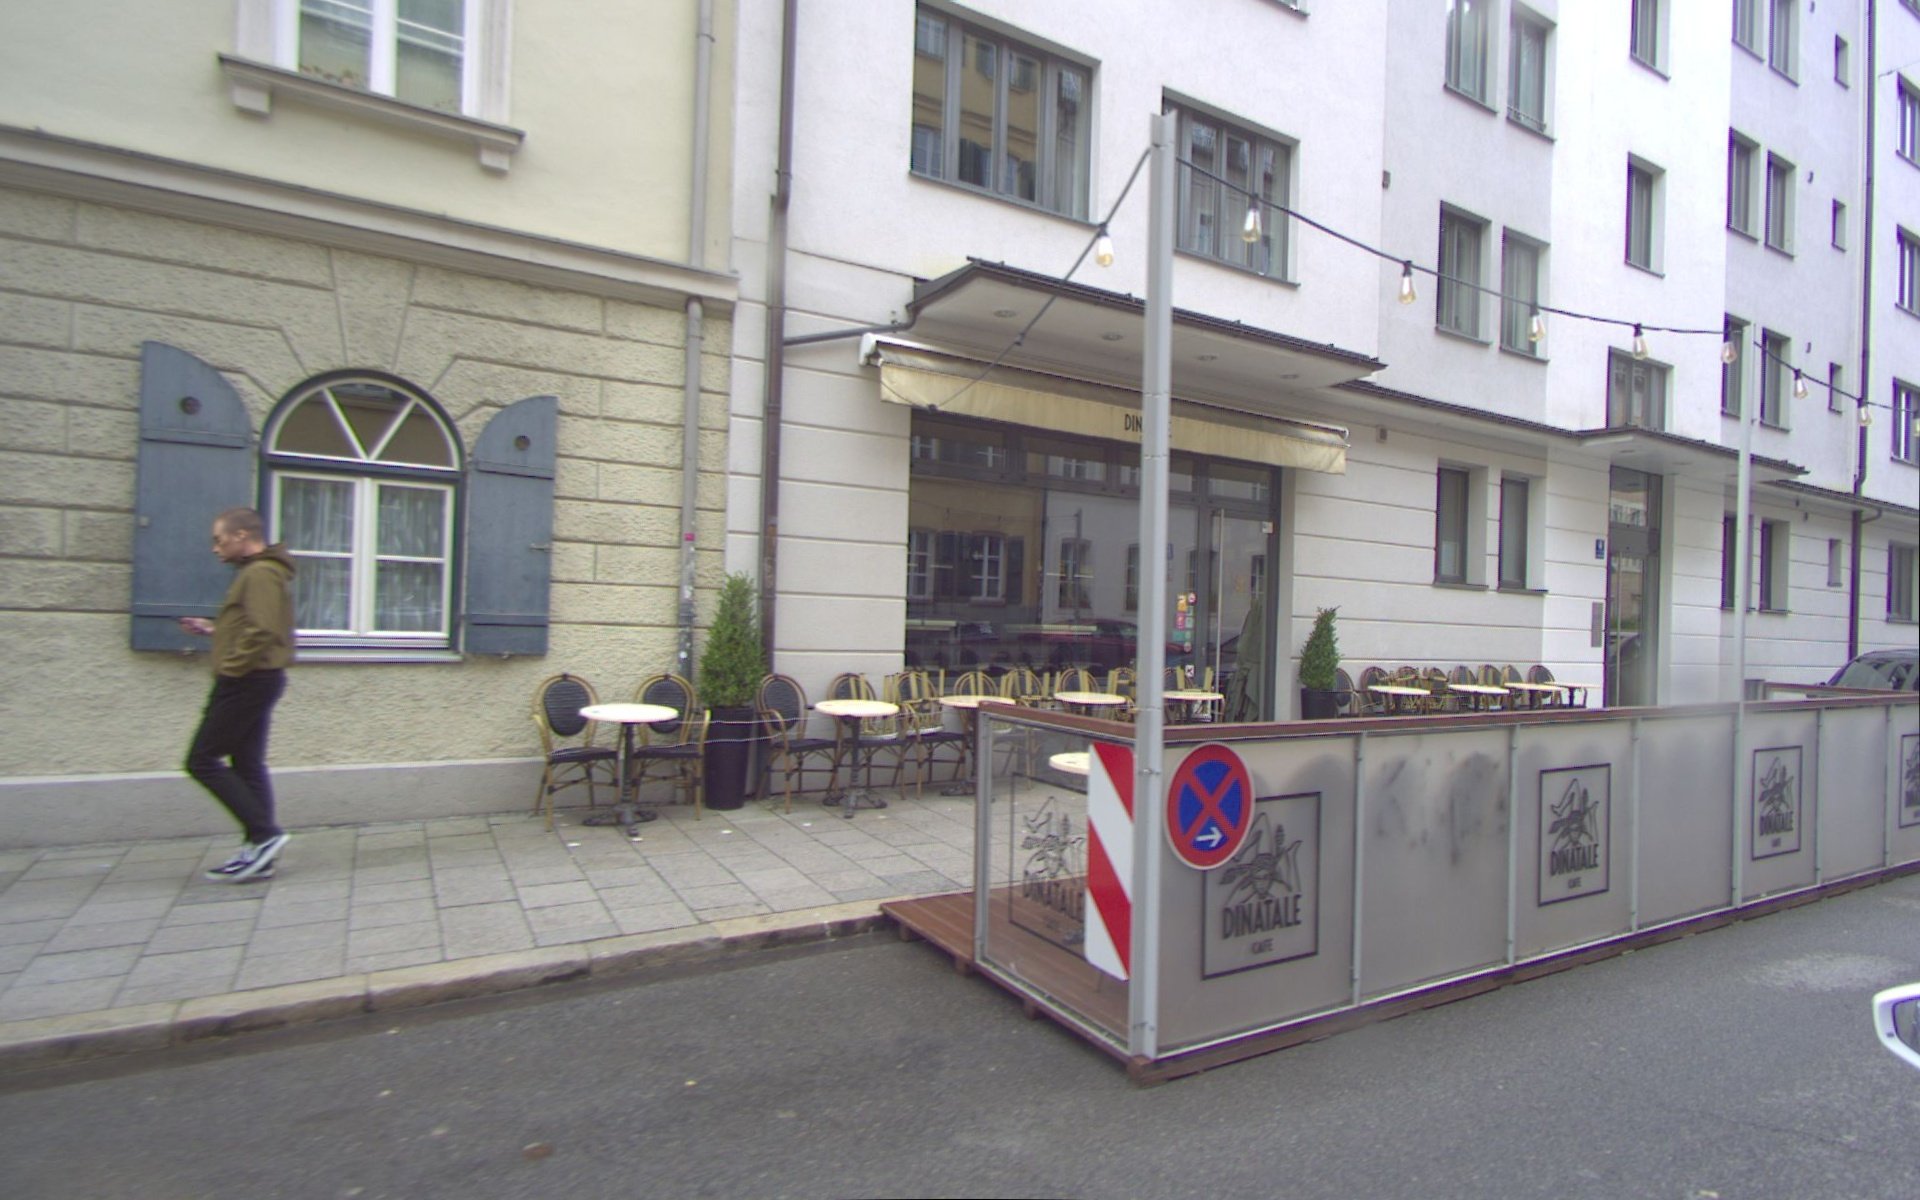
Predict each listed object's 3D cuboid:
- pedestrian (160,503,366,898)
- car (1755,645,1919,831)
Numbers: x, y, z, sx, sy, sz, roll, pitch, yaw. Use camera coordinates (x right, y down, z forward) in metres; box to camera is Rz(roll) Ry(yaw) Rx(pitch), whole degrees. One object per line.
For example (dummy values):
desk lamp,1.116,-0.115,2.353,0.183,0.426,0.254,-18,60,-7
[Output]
pedestrian,-3.473,0.479,5.074,0.732,1.818,0.589,3,-2,-31
car,8.969,1.144,9.166,4.118,1.429,1.749,2,-3,-38
